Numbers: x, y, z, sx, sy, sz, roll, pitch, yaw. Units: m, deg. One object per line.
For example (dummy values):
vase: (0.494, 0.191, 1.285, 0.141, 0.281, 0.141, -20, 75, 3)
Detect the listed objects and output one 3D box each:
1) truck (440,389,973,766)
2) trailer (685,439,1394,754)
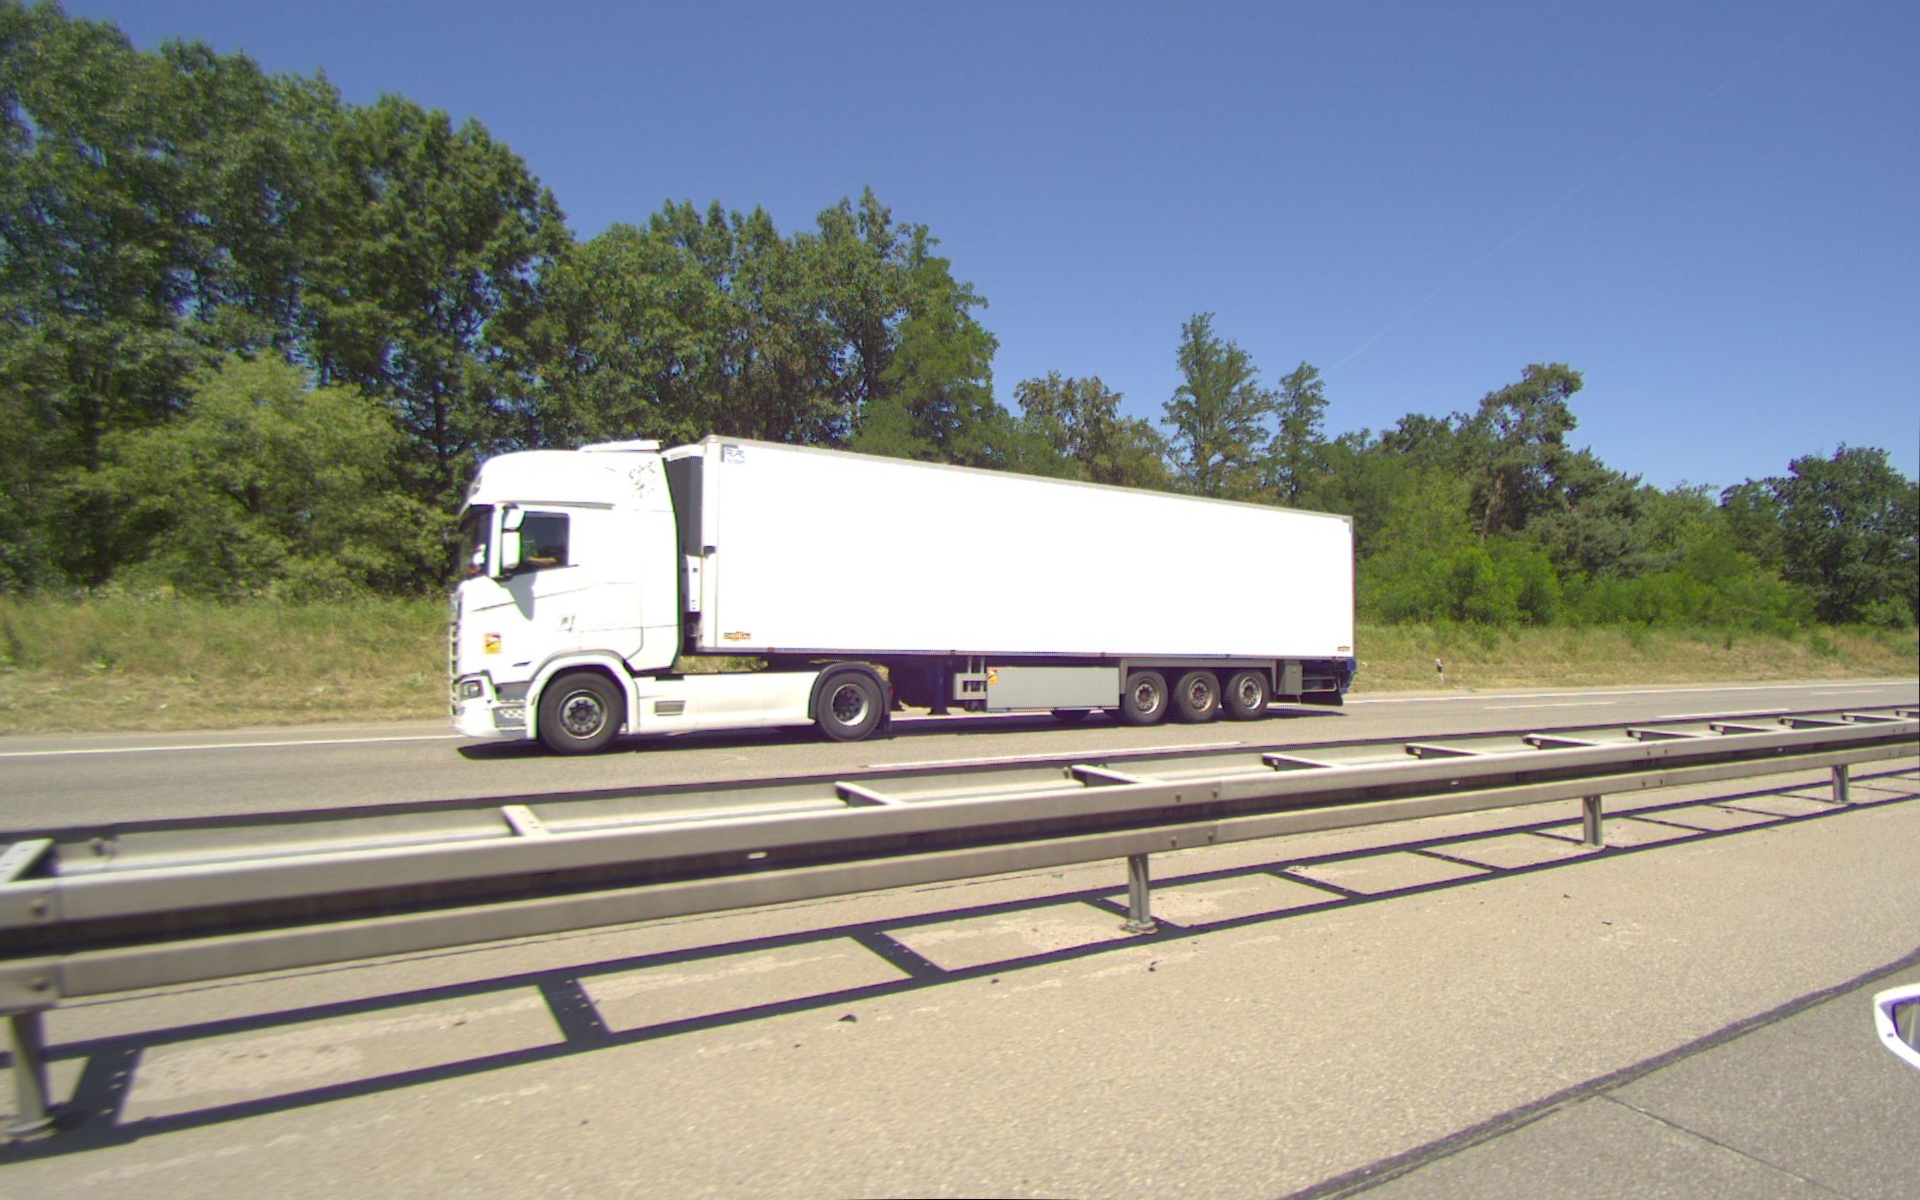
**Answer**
truck: (-3.681, -0.074, 14.945, 6.977, 4.376, 3.515, 2, -4, -31)
trailer: (2.126, 0.237, 18.471, 13.449, 4.238, 3.514, 2, -4, -31)
